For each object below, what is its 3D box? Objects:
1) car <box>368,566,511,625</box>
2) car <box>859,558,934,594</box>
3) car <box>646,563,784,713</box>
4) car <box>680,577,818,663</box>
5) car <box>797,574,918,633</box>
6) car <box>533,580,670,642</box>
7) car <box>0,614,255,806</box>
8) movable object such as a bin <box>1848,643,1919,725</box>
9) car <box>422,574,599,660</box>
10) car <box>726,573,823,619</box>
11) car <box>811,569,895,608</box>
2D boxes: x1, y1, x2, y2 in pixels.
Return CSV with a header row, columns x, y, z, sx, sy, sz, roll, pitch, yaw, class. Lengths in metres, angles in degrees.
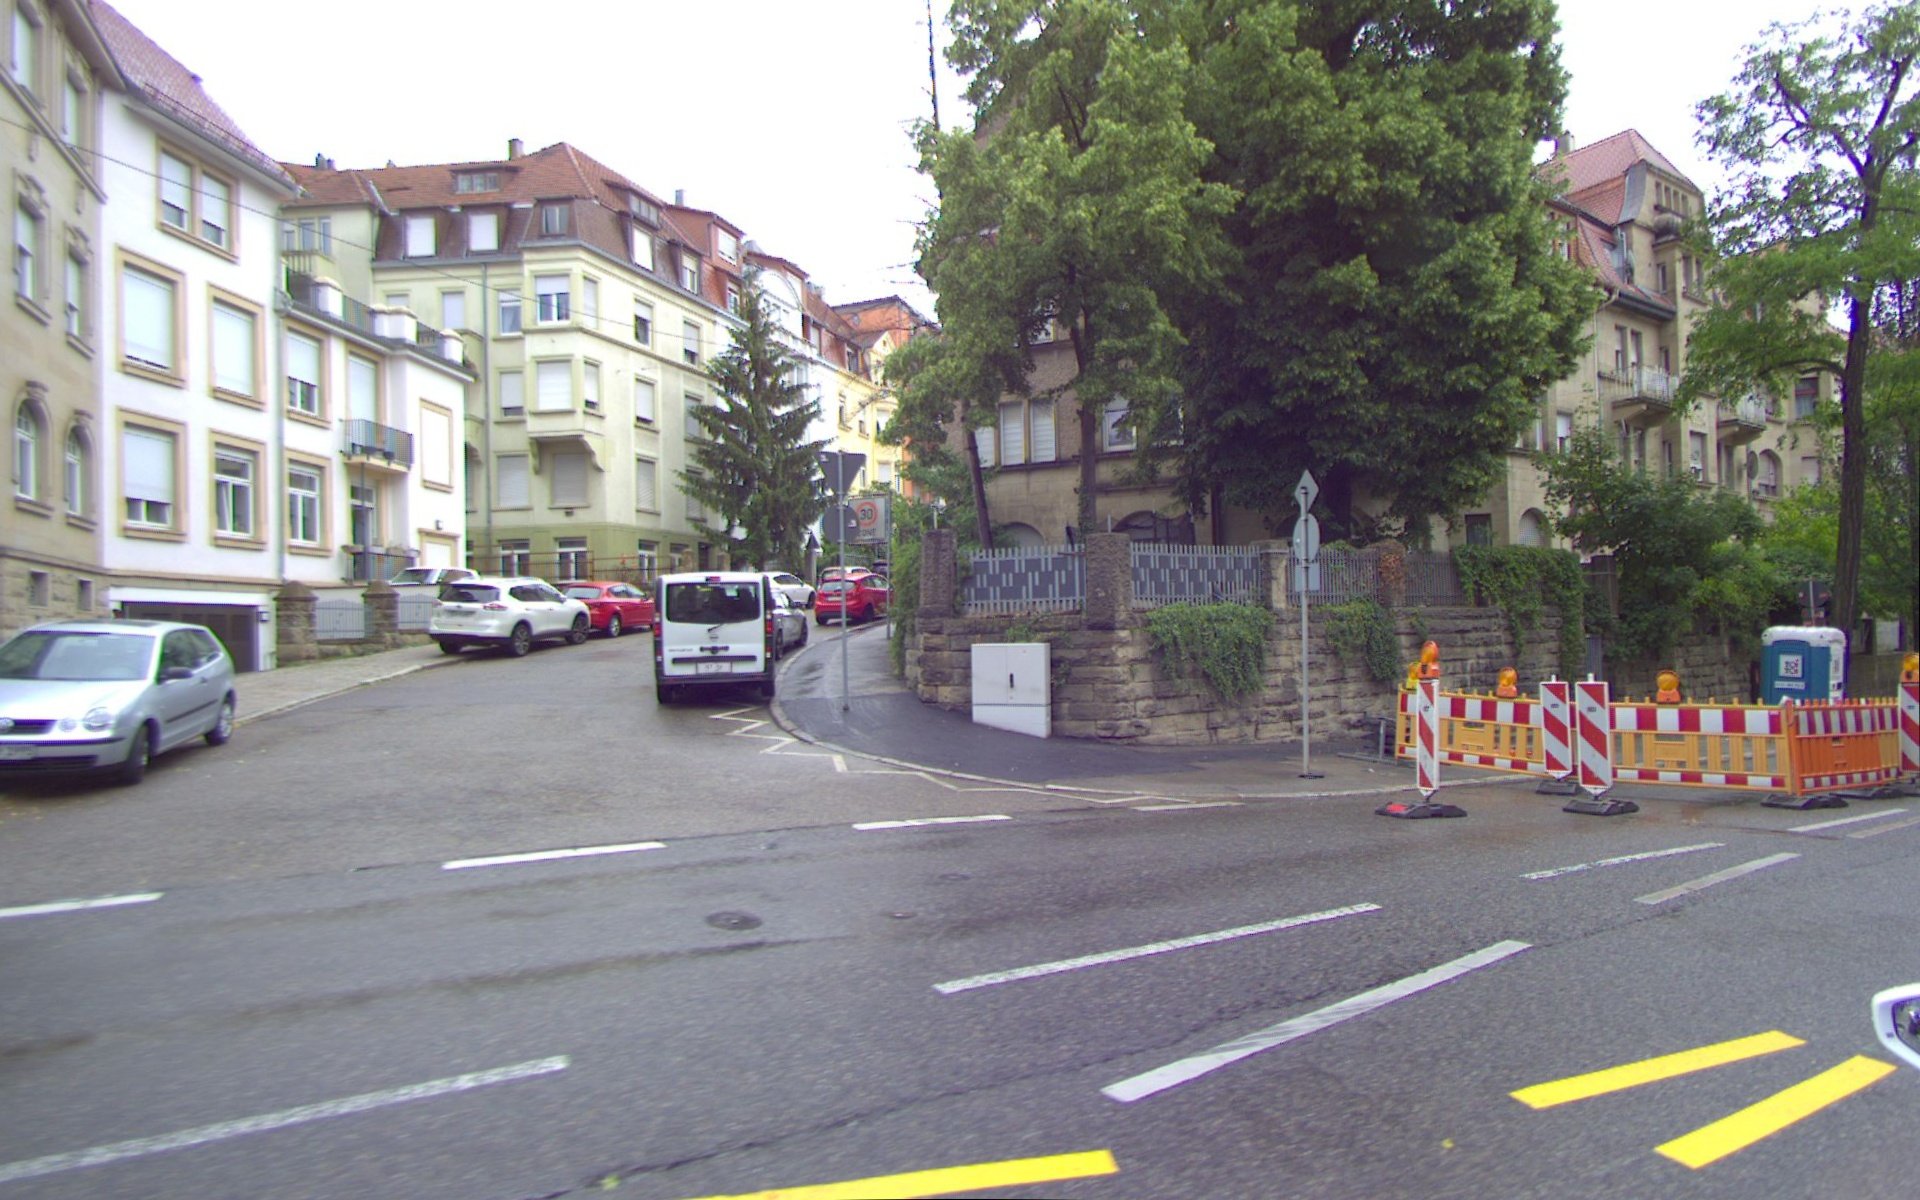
x,y,z,sx,sy,sz,roll,pitch,yaw,class
-14.914,-0.109,29.046,1.740,1.494,3.837,4,0,7,car
-2.940,-1.156,47.434,1.883,1.531,4.247,4,4,21,car
-4.108,0.492,17.229,1.990,2.076,4.665,0,4,-12,car
-4.613,0.367,22.689,2.072,1.535,4.442,-1,4,1,car
-3.041,0.094,30.782,1.994,1.556,4.443,4,1,18,car
-9.958,0.297,28.212,1.881,1.494,3.838,4,0,10,car
-8.917,0.981,10.297,1.799,1.427,3.855,4,0,-21,car
28.160,2.456,29.744,2.782,2.329,1.985,2,-3,-30,movable object such as a bin
-10.299,0.371,23.404,1.882,1.697,4.160,4,0,5,car
-6.847,-0.205,37.531,1.717,1.527,4.158,4,3,18,car
-4.484,-0.521,42.701,1.814,1.477,4.156,4,3,21,car
